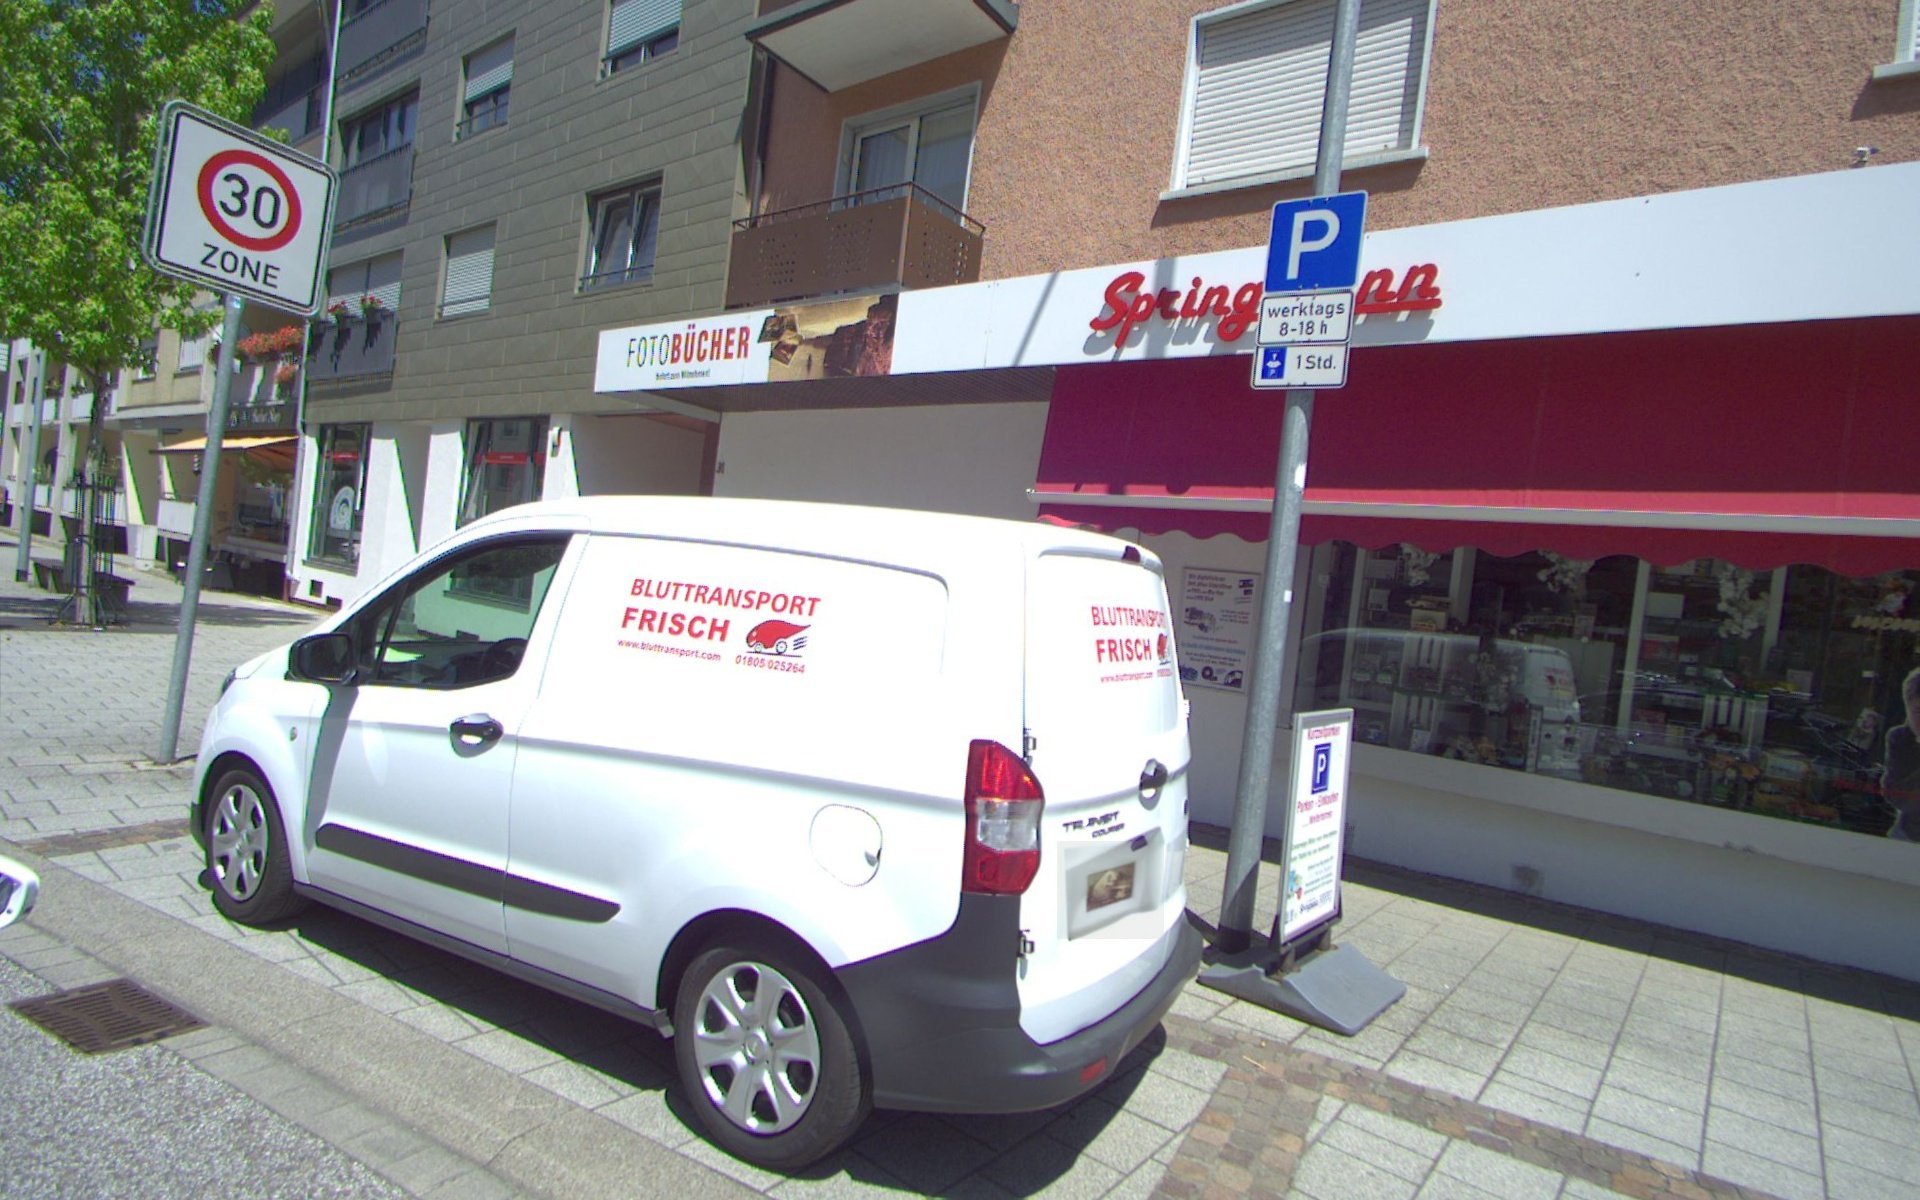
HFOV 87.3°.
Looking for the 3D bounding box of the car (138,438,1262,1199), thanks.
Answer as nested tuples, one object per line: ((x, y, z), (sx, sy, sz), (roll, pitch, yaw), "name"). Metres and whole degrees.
((-1.084, 0.449, 3.789), (3.843, 1.746, 1.749), (6, 1, 29), "car")
